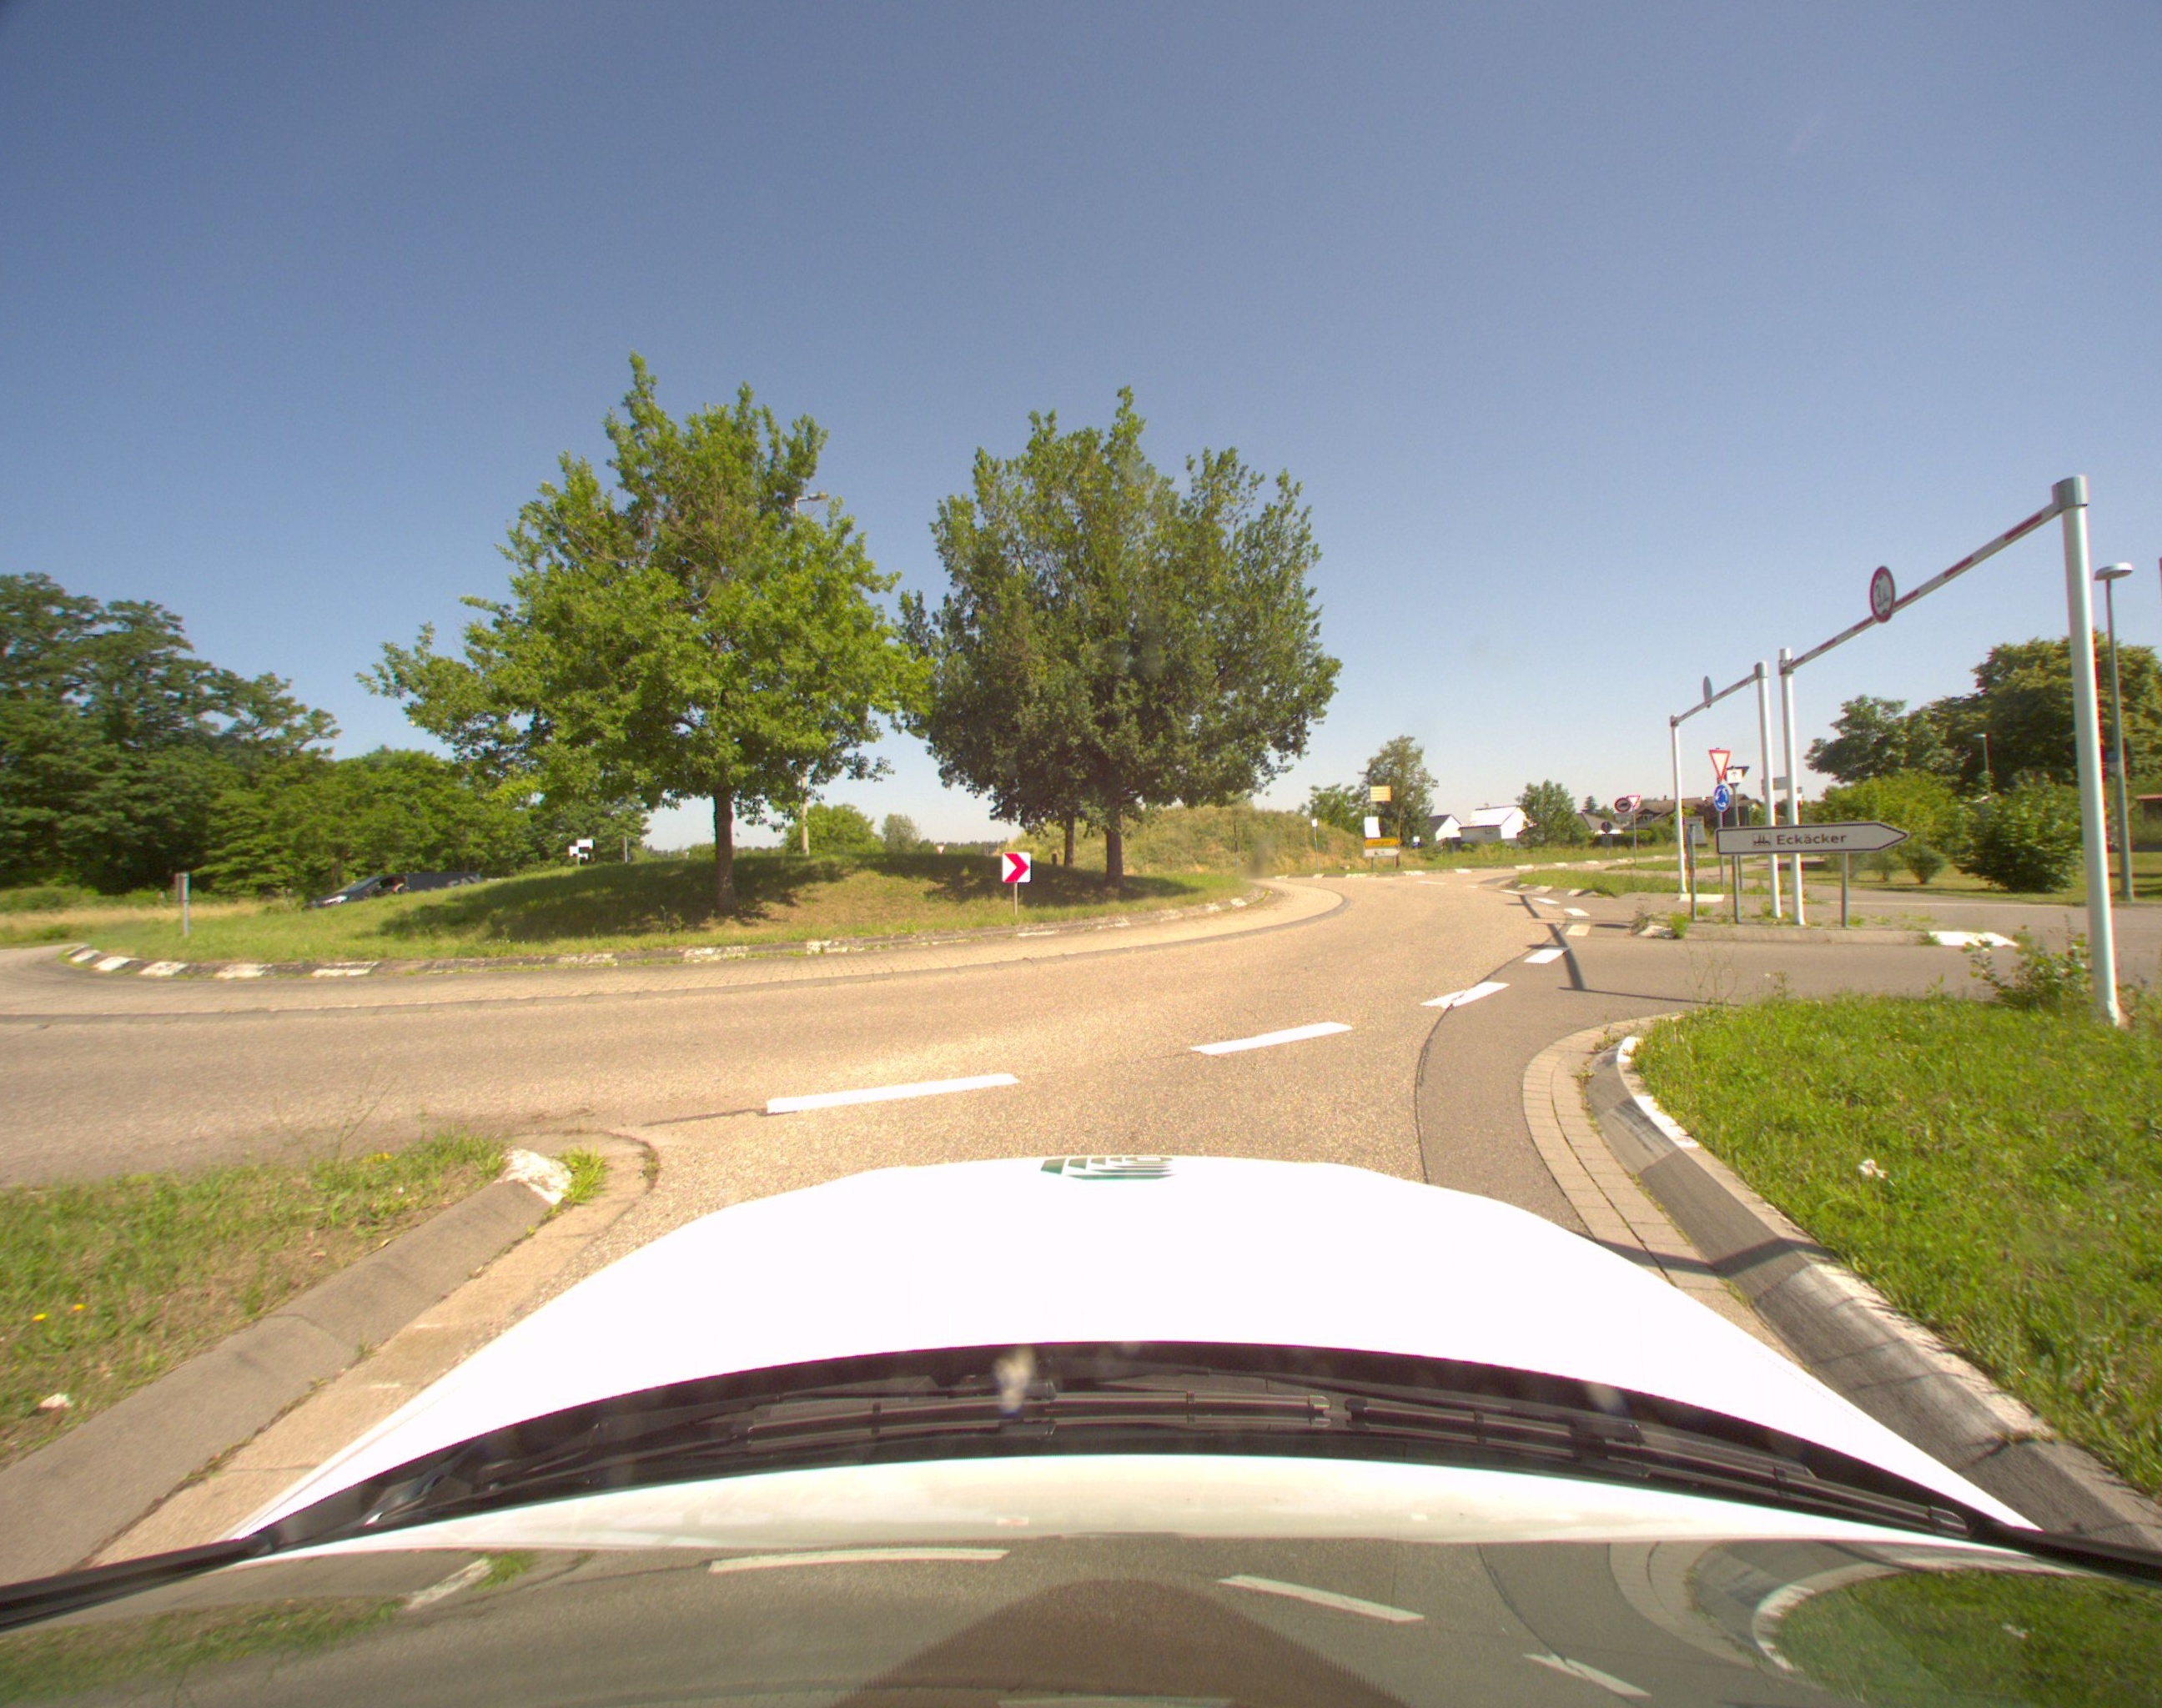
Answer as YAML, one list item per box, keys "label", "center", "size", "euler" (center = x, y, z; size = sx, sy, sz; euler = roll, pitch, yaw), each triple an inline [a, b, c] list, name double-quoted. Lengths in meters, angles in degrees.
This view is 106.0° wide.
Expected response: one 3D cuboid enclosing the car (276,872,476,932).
- label: "car"
  center: [-24.131, 1.585, 28.104]
  size: [2.075, 1.714, 4.747]
  euler: [-2, 0, 28]
